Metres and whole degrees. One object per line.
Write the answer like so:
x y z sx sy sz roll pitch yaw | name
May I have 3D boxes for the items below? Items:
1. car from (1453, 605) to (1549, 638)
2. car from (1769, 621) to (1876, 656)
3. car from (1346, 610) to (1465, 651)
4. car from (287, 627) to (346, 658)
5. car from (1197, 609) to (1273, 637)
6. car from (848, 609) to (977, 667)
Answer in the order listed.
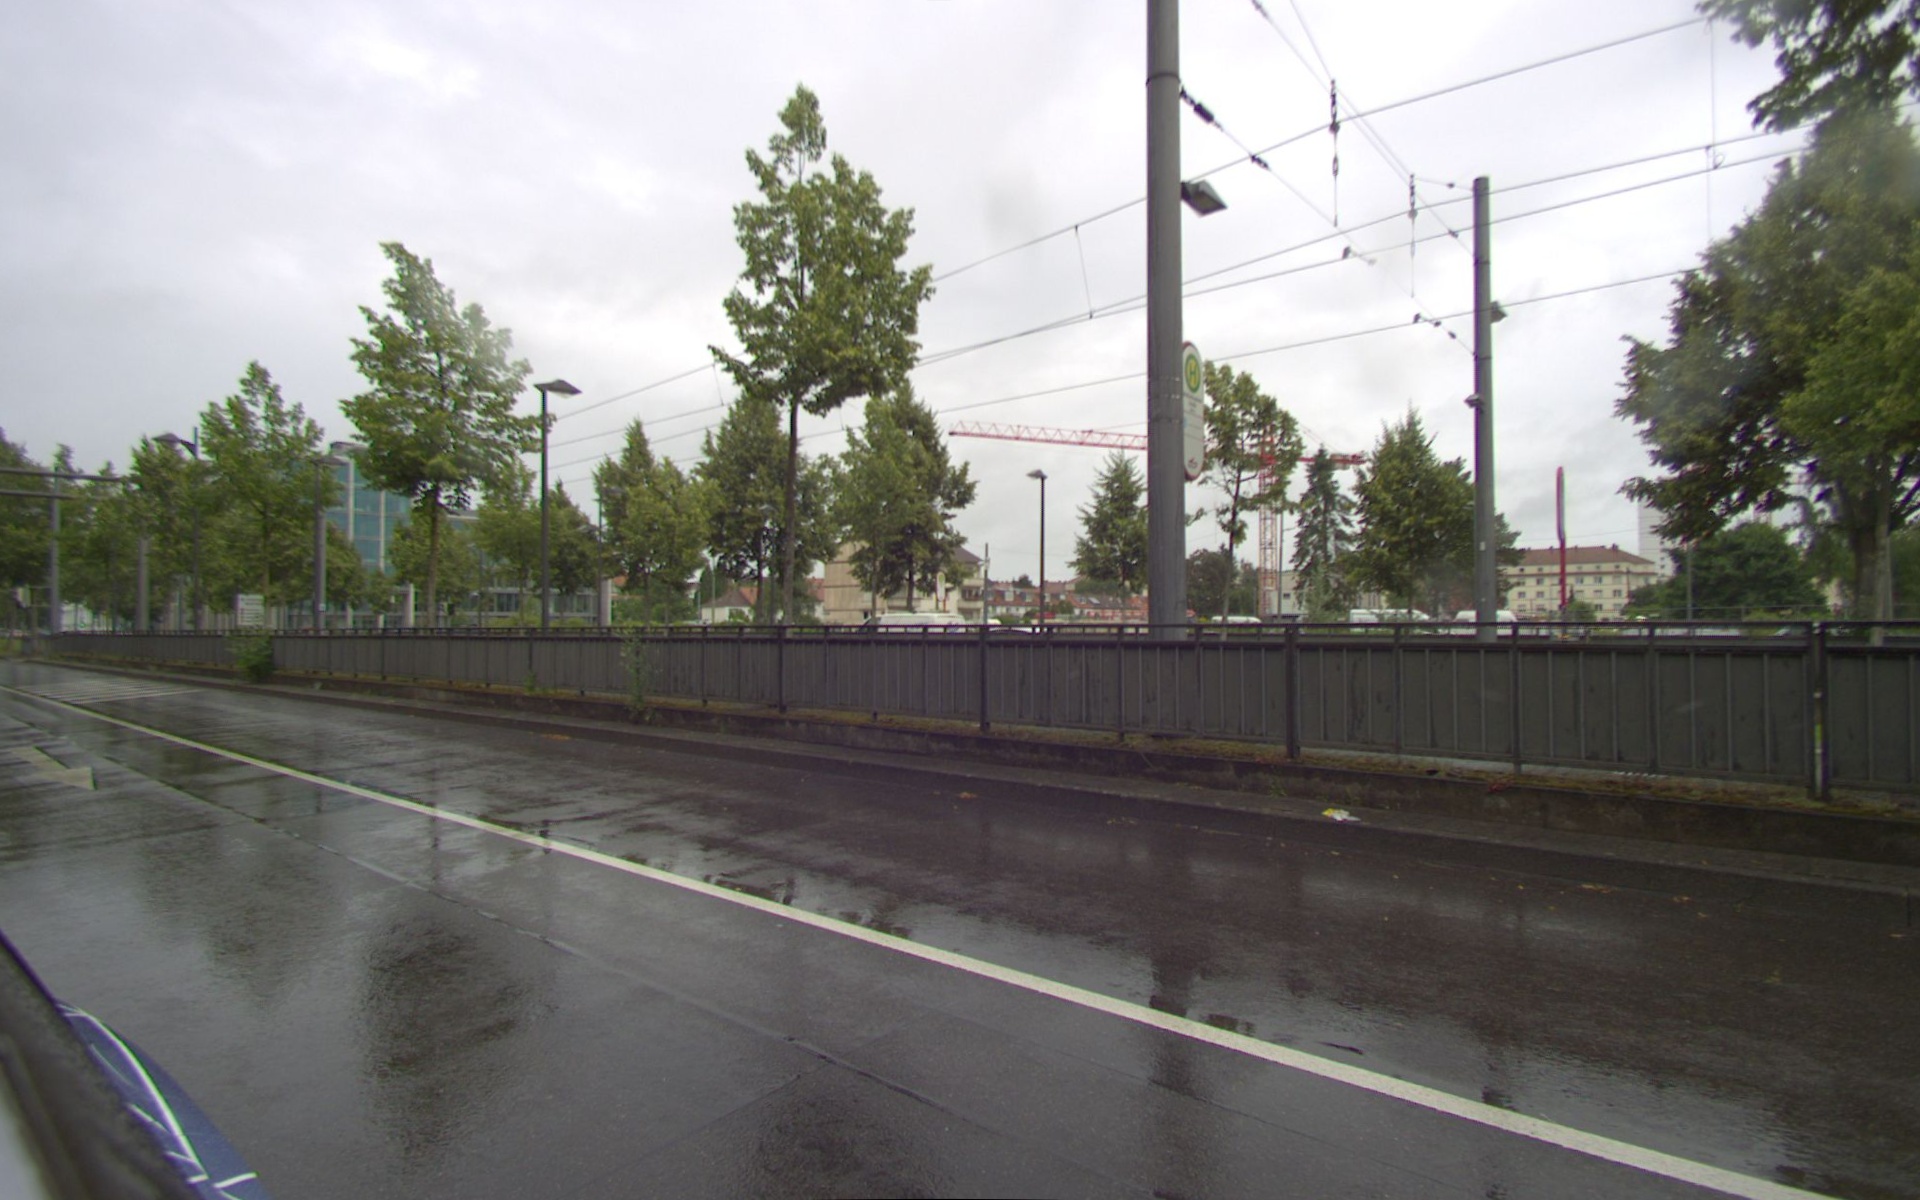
36.228 1.418 67.863 5.413 2.067 1.975 -1 1 37 | car
49.057 2.168 57.680 4.416 1.891 1.855 -1 1 35 | car
28.741 1.957 65.484 6.737 2.480 1.975 -1 1 37 | car
-40.670 2.649 63.913 3.995 1.759 1.974 -1 1 39 | car
23.982 2.001 88.360 6.125 2.323 1.978 -1 0 33 | car
-1.610 1.222 33.724 3.995 1.759 1.974 -1 1 39 | car
